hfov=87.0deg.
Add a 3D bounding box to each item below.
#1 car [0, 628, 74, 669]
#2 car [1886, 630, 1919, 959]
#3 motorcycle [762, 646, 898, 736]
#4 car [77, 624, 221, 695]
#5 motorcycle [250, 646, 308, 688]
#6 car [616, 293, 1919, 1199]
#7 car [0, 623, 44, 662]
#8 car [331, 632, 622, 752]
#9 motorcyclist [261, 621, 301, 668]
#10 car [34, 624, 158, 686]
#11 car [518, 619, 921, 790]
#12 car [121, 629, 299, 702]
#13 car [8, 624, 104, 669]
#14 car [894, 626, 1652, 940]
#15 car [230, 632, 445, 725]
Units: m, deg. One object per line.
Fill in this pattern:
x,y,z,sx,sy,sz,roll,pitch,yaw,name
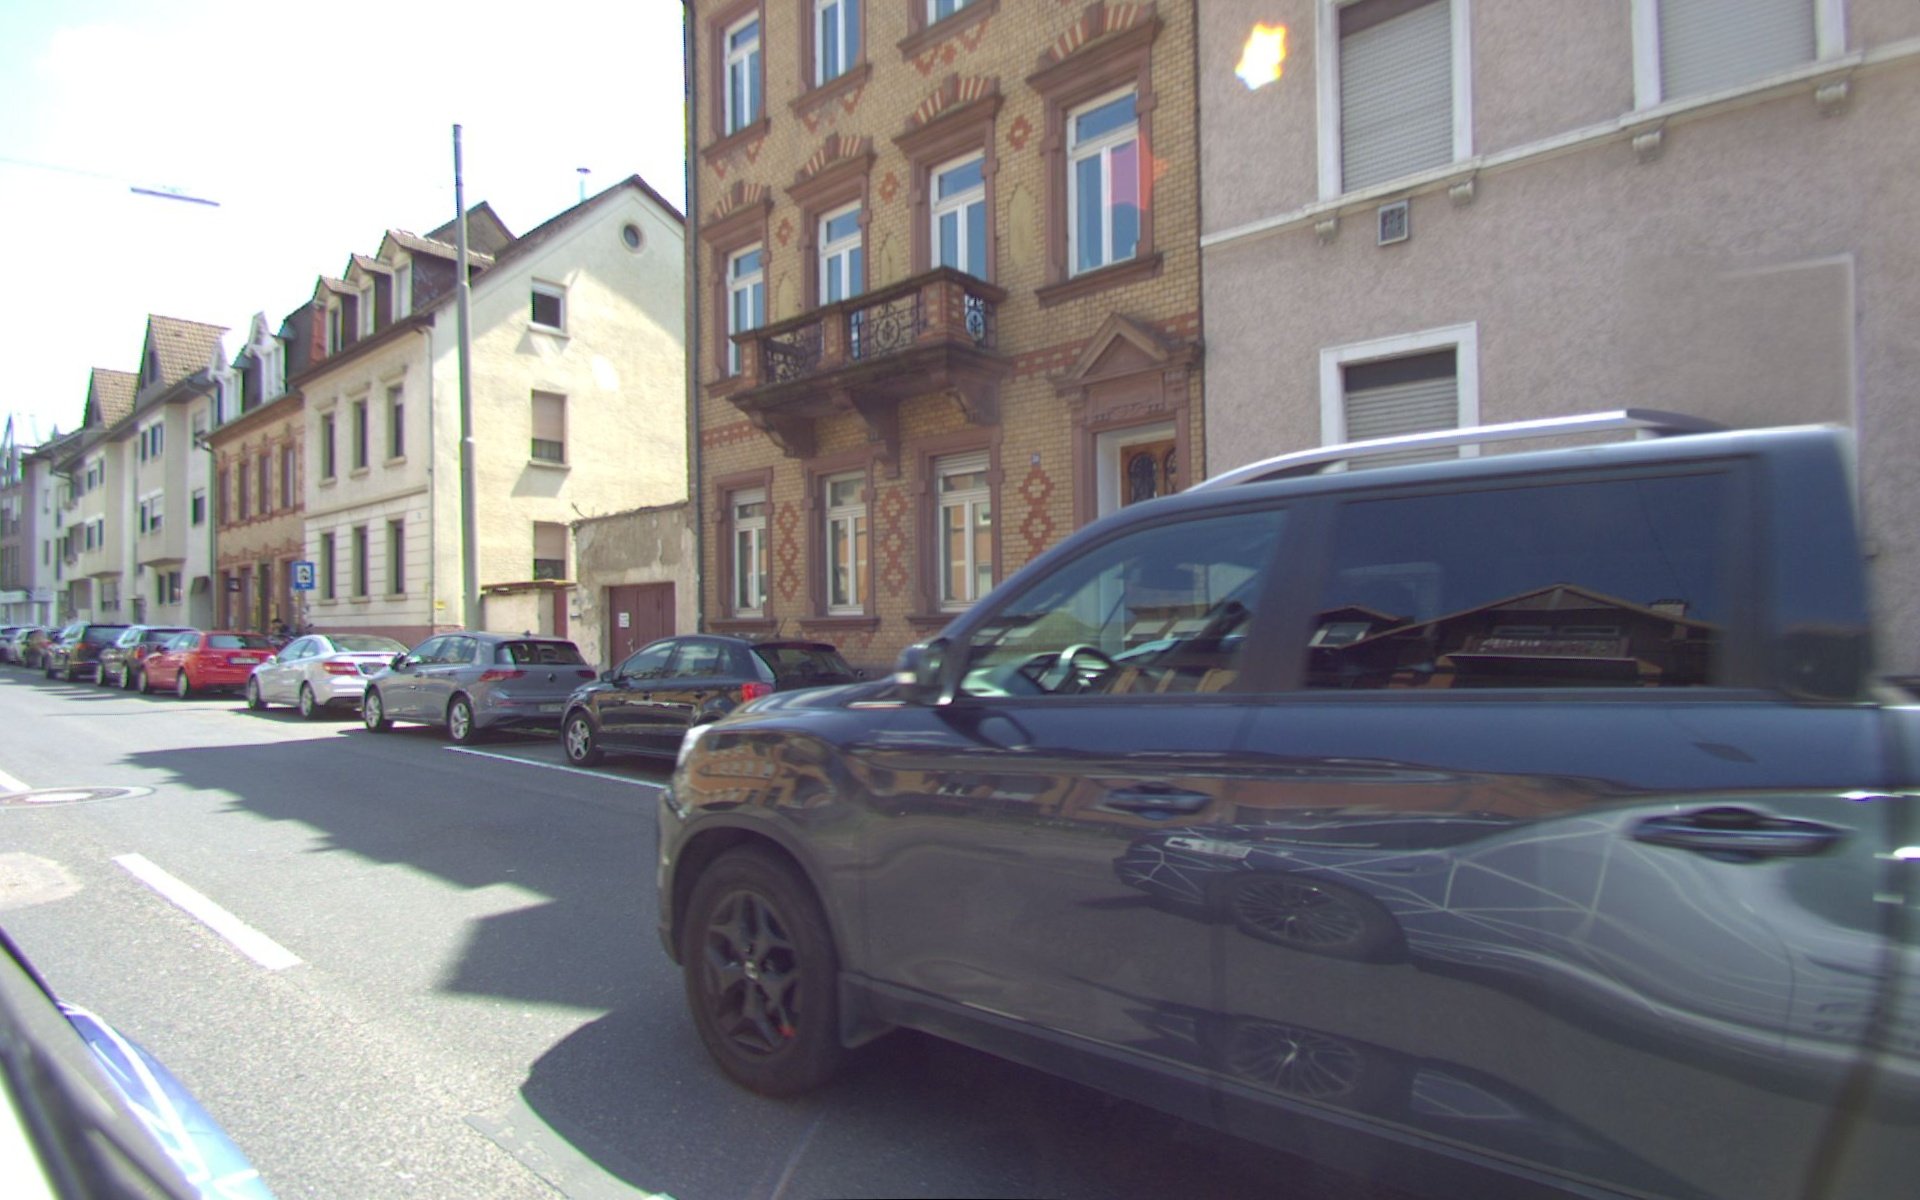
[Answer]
-37.479,1.923,40.822,4.380,1.499,1.822,-1,0,38,car
6.023,0.820,3.010,4.639,1.433,1.822,-1,-4,38,car
-1.736,1.158,13.288,1.936,1.061,0.705,-2,-2,43,motorcycle
-20.419,1.478,25.426,4.497,1.609,1.821,-1,-6,39,car
-18.583,1.809,27.597,1.870,1.087,0.837,-2,-2,40,motorcycle
1.459,0.552,2.408,5.145,1.806,1.973,-2,-3,41,car
-42.292,1.871,44.791,4.379,1.608,1.823,-1,0,37,car
-6.902,1.235,14.256,4.496,1.433,1.822,-1,-7,38,car
-18.567,1.223,27.681,0.711,1.257,0.711,-2,-3,38,motorcyclist
-24.439,1.523,28.580,4.497,1.609,1.821,-1,-4,39,car
-2.697,1.006,10.715,4.500,1.433,1.820,-2,-6,41,car
-16.403,1.411,22.068,4.493,1.433,1.823,-2,-5,36,car
-33.499,1.699,37.453,4.495,1.499,1.823,-1,0,37,car
1.852,0.931,6.778,4.496,1.433,1.822,-1,-4,38,car
-11.109,1.328,17.943,4.497,1.433,1.821,-1,-4,39,car
